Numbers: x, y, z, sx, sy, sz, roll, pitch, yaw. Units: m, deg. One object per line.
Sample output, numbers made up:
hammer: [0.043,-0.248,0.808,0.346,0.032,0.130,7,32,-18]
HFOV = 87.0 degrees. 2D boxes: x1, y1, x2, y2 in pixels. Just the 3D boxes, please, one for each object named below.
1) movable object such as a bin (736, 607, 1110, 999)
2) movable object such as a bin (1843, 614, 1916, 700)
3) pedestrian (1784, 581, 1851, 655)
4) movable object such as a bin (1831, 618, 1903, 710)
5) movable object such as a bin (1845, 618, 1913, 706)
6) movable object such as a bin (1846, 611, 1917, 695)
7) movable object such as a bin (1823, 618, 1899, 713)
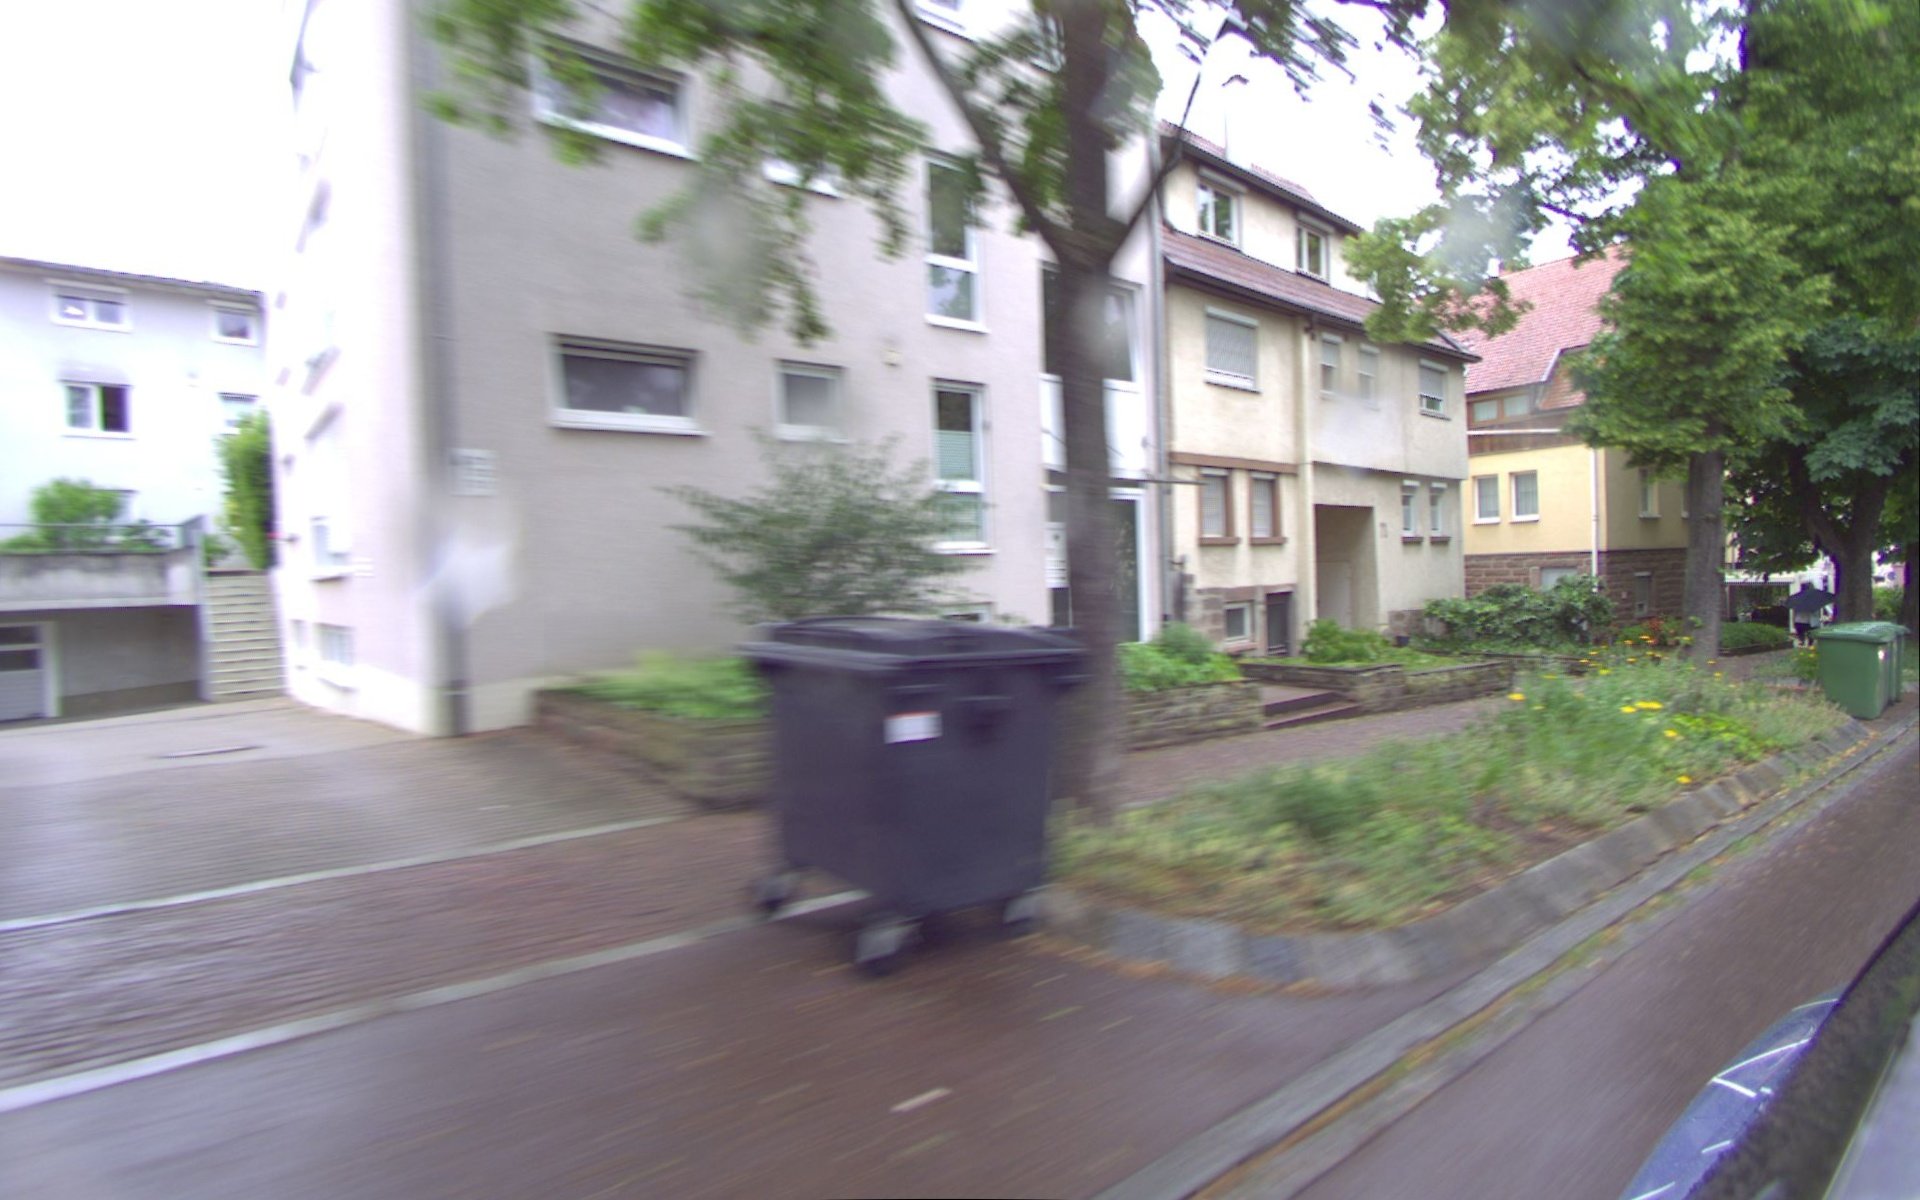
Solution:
movable object such as a bin: [-0.186,0.713,4.359,1.113,1.332,1.228,0,1,-38]
movable object such as a bin: [12.269,0.739,13.507,0.532,1.096,0.688,0,0,-44]
pedestrian: [20.148,0.400,23.784,0.778,1.672,0.959,0,1,-27]
movable object such as a bin: [11.368,0.787,12.687,0.464,1.096,0.631,0,-1,-44]
movable object such as a bin: [11.885,0.785,13.089,0.504,1.096,0.610,0,-1,-44]
movable object such as a bin: [12.677,0.711,13.921,0.532,1.096,0.688,0,-1,-44]
movable object such as a bin: [10.955,0.780,12.307,0.532,1.096,0.644,0,-1,-44]
